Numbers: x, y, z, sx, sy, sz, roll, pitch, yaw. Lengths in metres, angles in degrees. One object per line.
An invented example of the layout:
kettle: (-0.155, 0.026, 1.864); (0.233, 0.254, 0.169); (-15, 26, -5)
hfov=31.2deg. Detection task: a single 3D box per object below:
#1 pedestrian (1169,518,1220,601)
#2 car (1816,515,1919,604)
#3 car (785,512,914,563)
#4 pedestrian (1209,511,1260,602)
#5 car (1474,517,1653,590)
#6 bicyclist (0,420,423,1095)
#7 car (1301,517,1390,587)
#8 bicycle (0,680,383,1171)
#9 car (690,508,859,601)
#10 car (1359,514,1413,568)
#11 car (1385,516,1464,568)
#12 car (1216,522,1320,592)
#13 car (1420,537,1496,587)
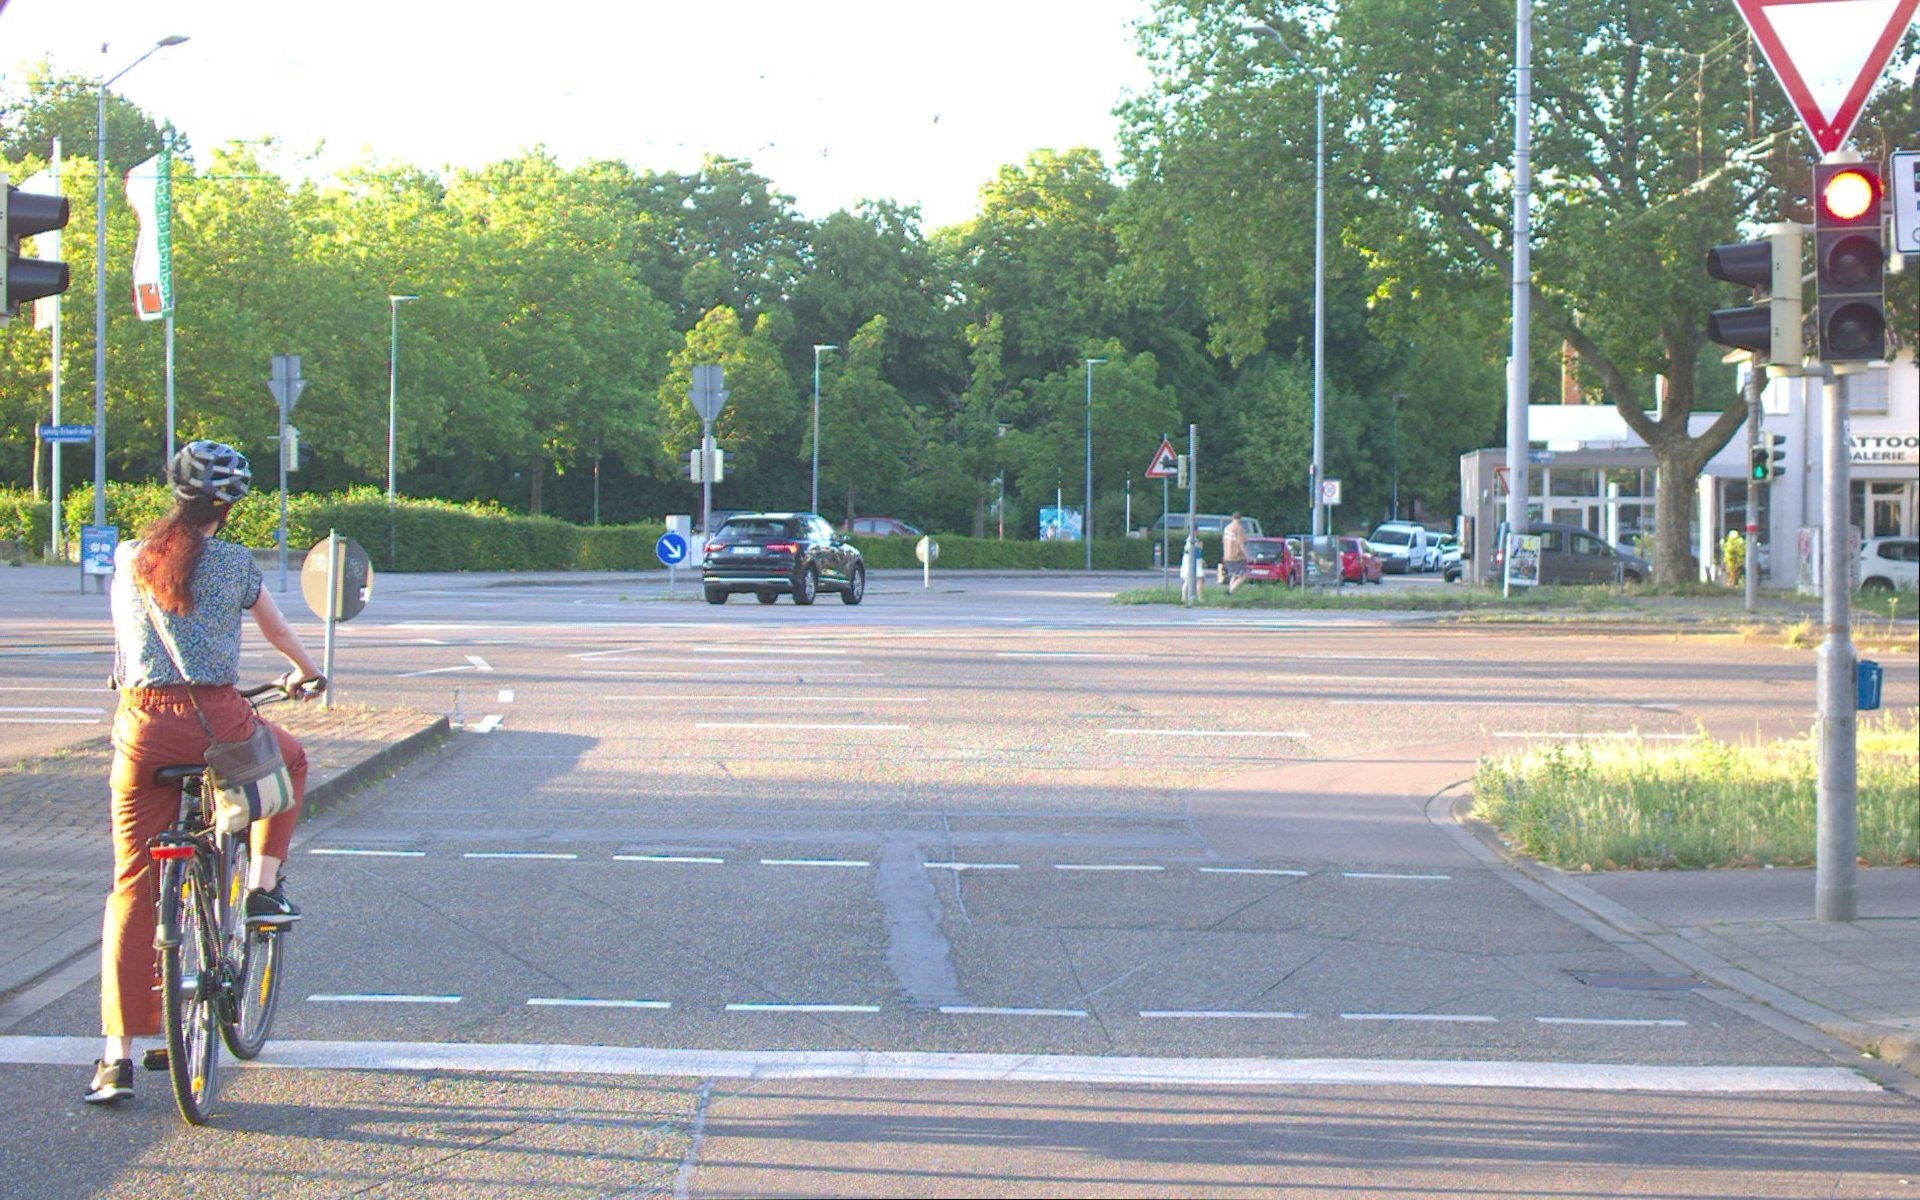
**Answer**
pedestrian: (4.648, -0.806, 68.192); (0.719, 1.633, 0.896); (1, 1, 24)
car: (20.398, -0.848, 72.476); (4.230, 1.840, 2.000); (1, 1, 2)
car: (-3.490, -2.001, 109.510); (3.987, 1.555, 2.000); (1, 1, 1)
pedestrian: (5.374, -0.852, 67.230); (0.719, 1.748, 0.896); (1, 1, 24)
car: (15.582, -1.207, 88.964); (4.378, 1.828, 1.949); (1, 1, 5)
bicyclist: (-2.042, 0.391, 9.266); (1.031, 1.712, 0.996); (1, 1, -1)
car: (11.605, -1.468, 103.314); (1.916, 2.040, 3.997); (1, 2, 17)
bicycle: (-2.043, 0.802, 9.260); (0.634, 1.064, 2.122); (1, 1, -1)
car: (-3.157, -0.755, 59.402); (1.756, 1.535, 4.398); (1, 0, 13)
car: (16.233, -2.278, 131.173); (1.994, 2.007, 3.999); (1, 1, 7)
car: (18.375, -2.295, 135.789); (1.996, 2.007, 3.995); (1, 2, 24)
car: (8.592, -1.223, 95.701); (1.870, 1.868, 3.870); (1, 2, 21)
car: (16.741, -1.280, 115.417); (1.916, 1.597, 3.997); (1, 2, 17)
